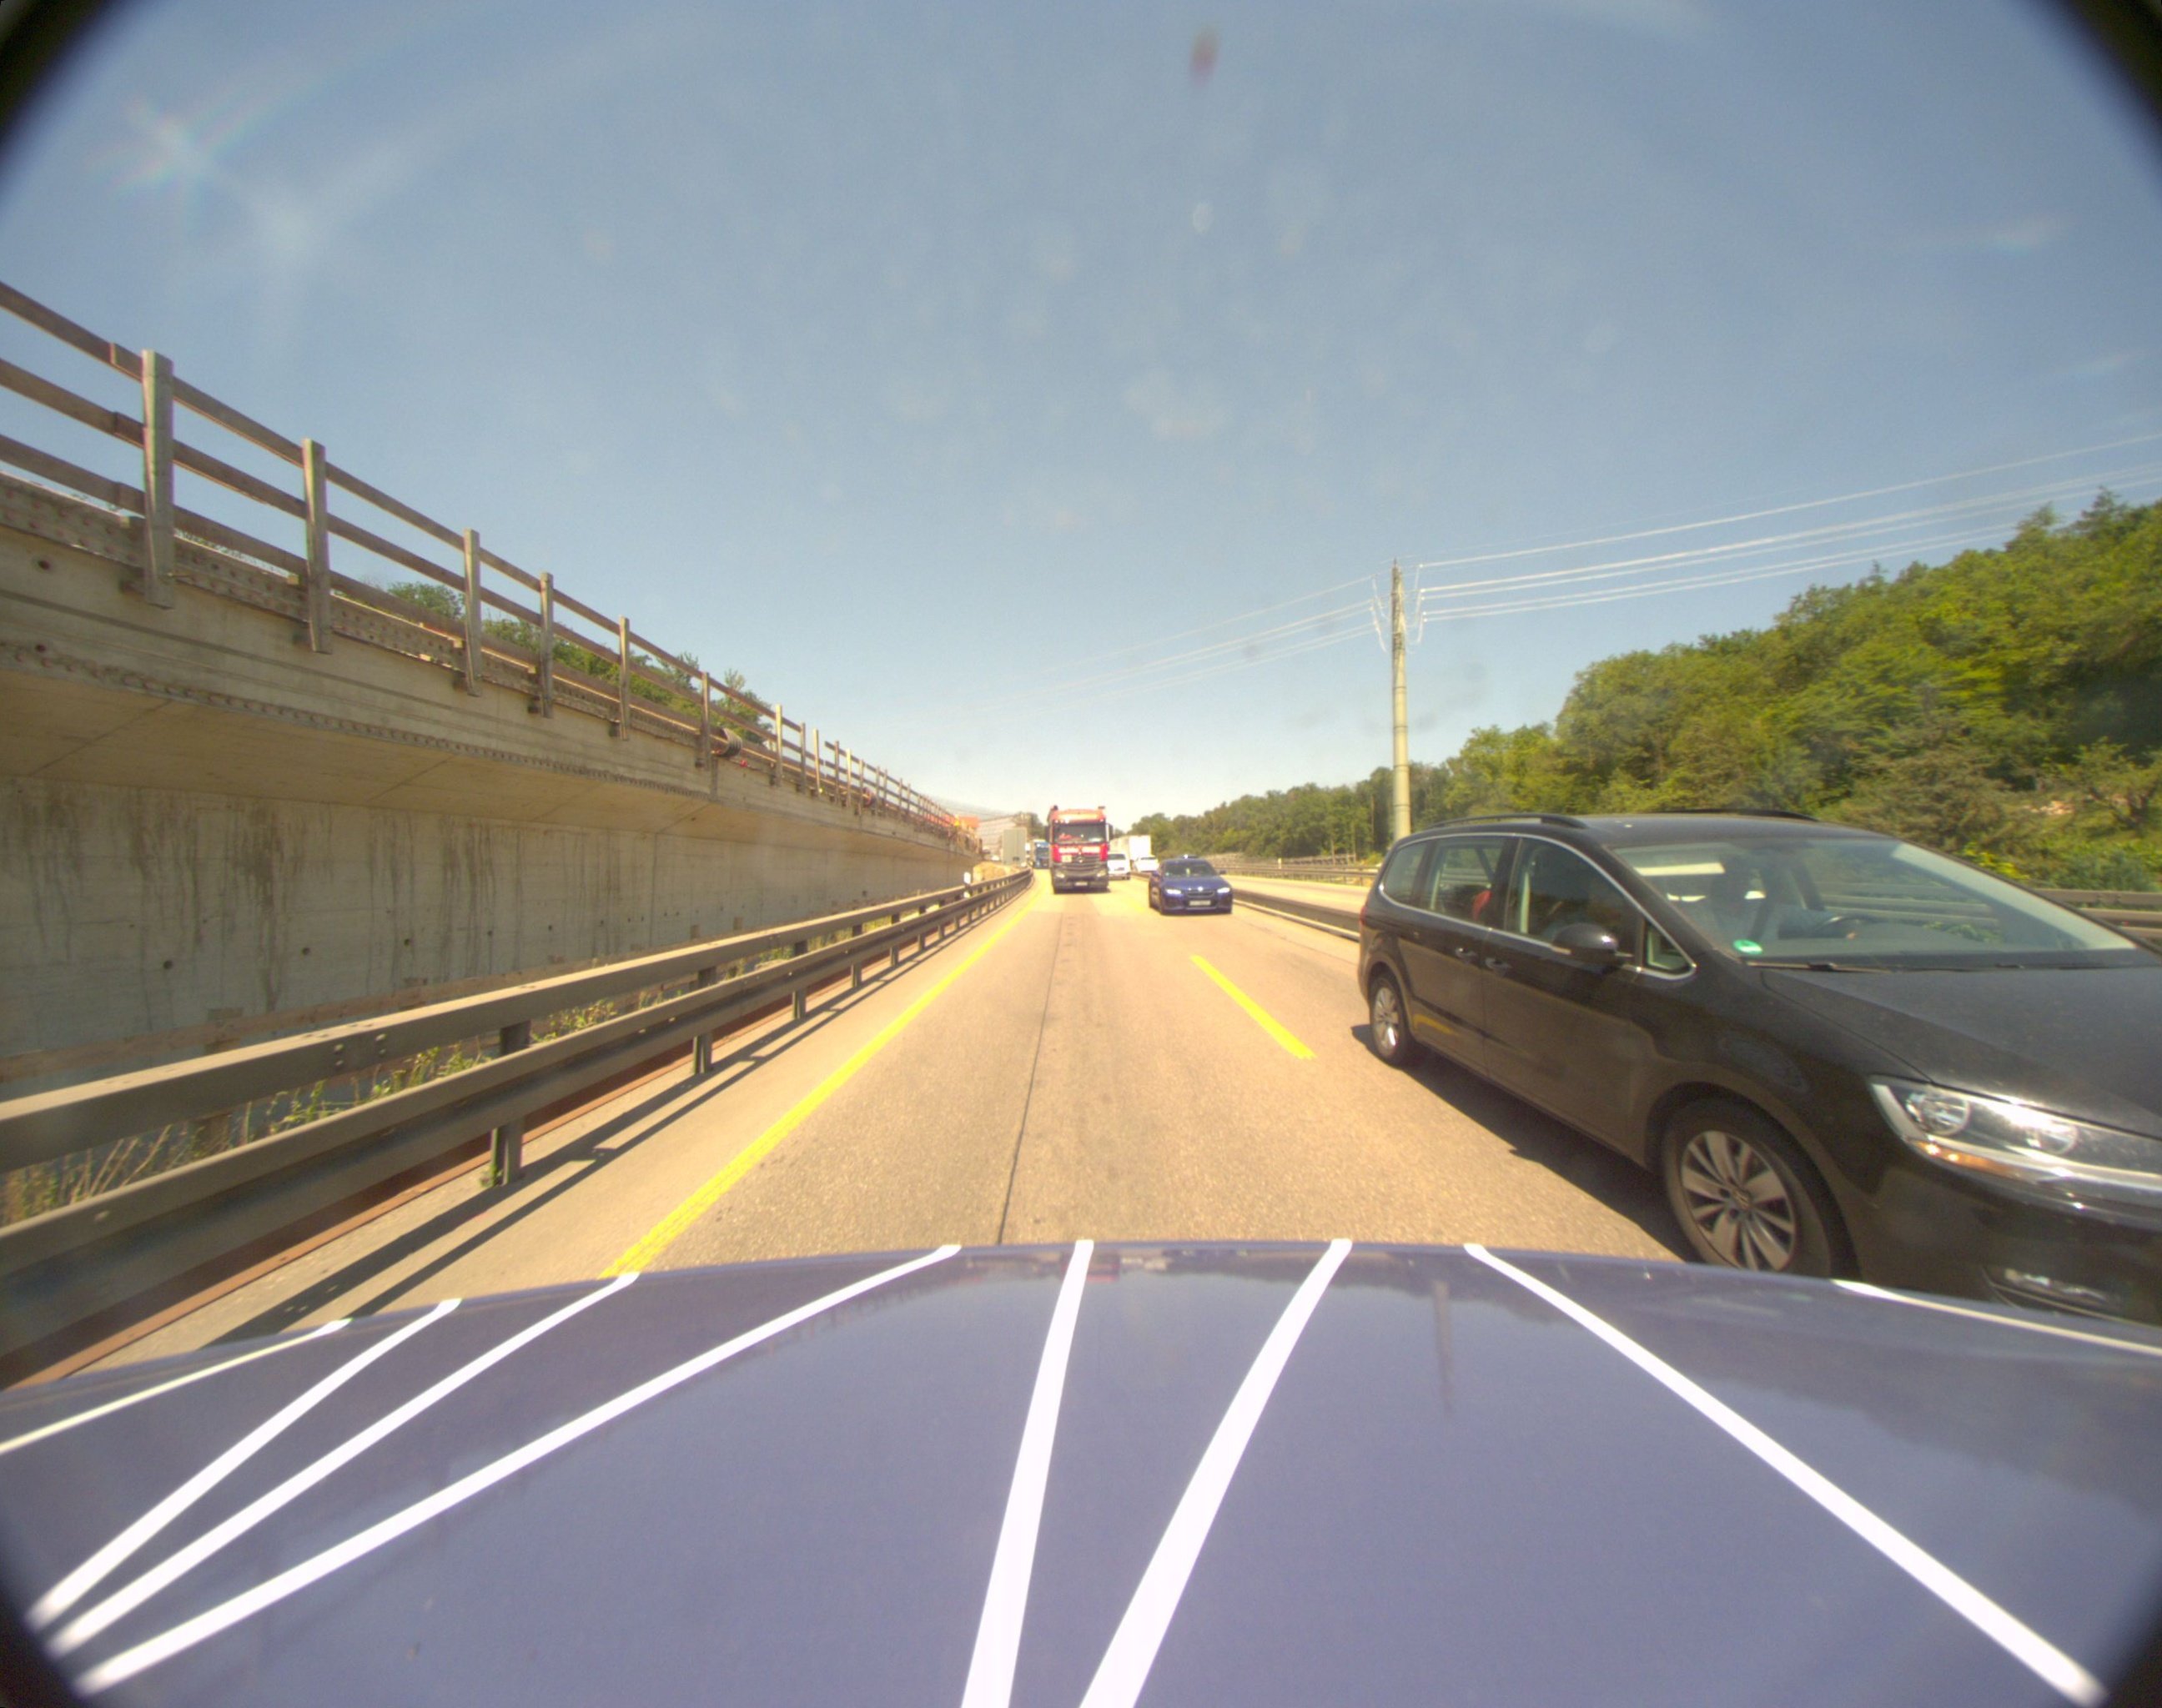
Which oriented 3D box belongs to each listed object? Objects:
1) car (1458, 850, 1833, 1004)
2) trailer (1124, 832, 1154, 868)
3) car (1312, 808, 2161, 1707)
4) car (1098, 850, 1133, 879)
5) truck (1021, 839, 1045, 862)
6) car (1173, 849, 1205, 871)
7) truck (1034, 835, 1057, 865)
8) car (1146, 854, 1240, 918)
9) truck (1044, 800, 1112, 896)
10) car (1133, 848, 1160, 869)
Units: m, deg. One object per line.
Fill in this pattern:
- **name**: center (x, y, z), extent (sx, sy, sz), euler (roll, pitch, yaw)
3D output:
- **car**: center (6.753, 0.750, 9.778), extent (1.675, 1.526, 4.190), euler (-1, 0, 0)
- **trailer**: center (7.059, -0.490, 93.118), extent (3.011, 4.141, 9.016), euler (-1, 0, 1)
- **car**: center (2.936, 0.756, 4.012), extent (1.861, 1.695, 5.304), euler (-1, 0, 1)
- **car**: center (2.311, 0.704, 52.664), extent (1.947, 1.858, 5.222), euler (-1, 0, -2)
- **truck**: center (-9.233, -0.657, 144.877), extent (2.913, 4.208, 9.229), euler (-2, 1, -13)
- **car**: center (9.067, 0.457, 64.227), extent (1.911, 1.732, 4.660), euler (-1, 1, -1)
- **truck**: center (-5.183, -0.534, 108.963), extent (2.673, 3.985, 10.424), euler (-1, 0, -6)
- **car**: center (2.987, 0.812, 21.239), extent (1.896, 1.546, 4.786), euler (-1, 0, 0)
- **truck**: center (-0.229, -0.362, 37.417), extent (2.798, 3.986, 10.426), euler (-1, 1, -1)
- **car**: center (5.412, 0.341, 63.282), extent (1.754, 1.677, 4.385), euler (-1, 1, -2)
